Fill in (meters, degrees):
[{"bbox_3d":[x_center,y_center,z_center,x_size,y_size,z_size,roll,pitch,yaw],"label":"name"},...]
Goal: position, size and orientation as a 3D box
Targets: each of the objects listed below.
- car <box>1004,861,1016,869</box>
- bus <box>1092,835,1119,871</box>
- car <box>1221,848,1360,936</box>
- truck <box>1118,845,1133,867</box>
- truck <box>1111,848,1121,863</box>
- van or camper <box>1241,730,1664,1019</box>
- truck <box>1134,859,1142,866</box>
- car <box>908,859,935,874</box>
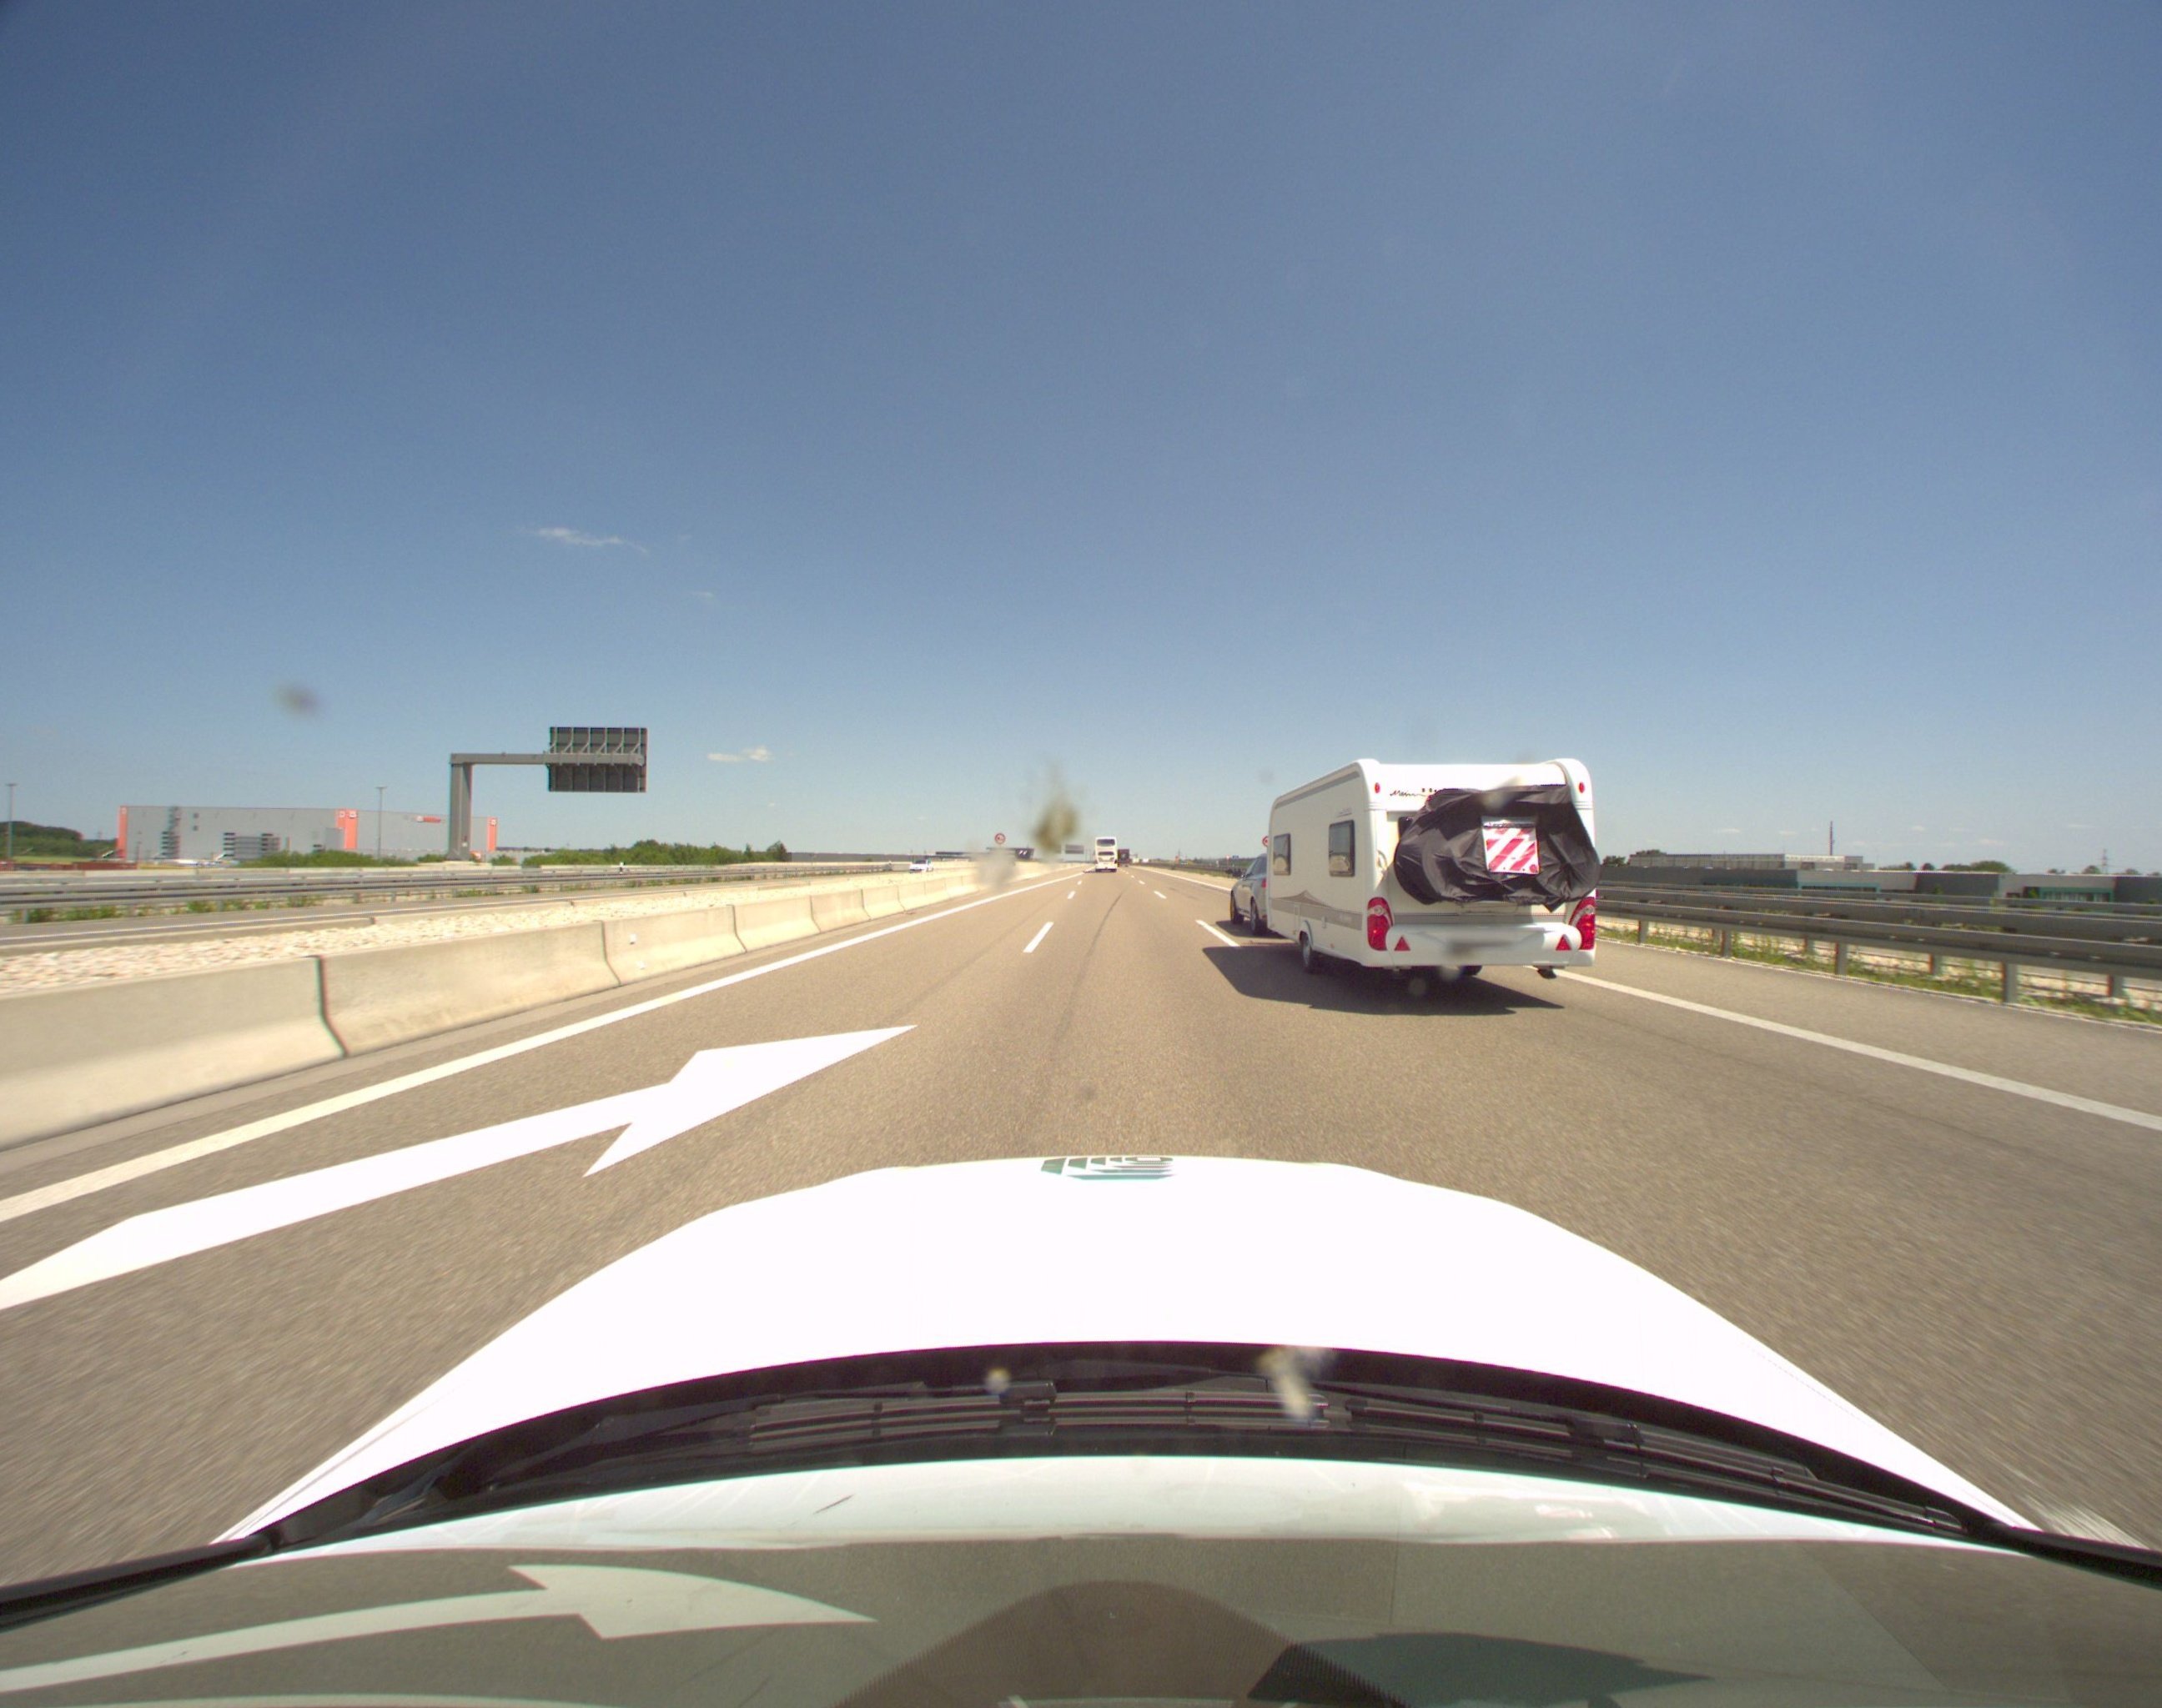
[{"bbox_3d":[-14.001,2.149,160.541,1.726,1.537,4.550,0,0,2],"label":"car"},{"bbox_3d":[2.852,-0.099,96.888,2.970,3.975,9.104,0,0,0],"label":"bus"},{"bbox_3d":[4.304,0.713,17.569,1.873,1.623,4.906,0,0,2],"label":"car"},{"bbox_3d":[10.325,0.521,190.121,3.365,4.465,13.574,0,-3,3],"label":"truck"},{"bbox_3d":[9.346,0.399,218.558,2.429,3.789,6.493,0,0,0],"label":"truck"},{"bbox_3d":[4.111,0.191,11.254,2.503,2.593,7.820,0,0,2],"label":"van or camper"},{"bbox_3d":[15.633,2.374,224.427,1.986,2.013,4.002,0,0,2],"label":"truck"},{"bbox_3d":[-16.368,1.272,83.834,1.803,1.435,4.441,0,0,0],"label":"car"}]
